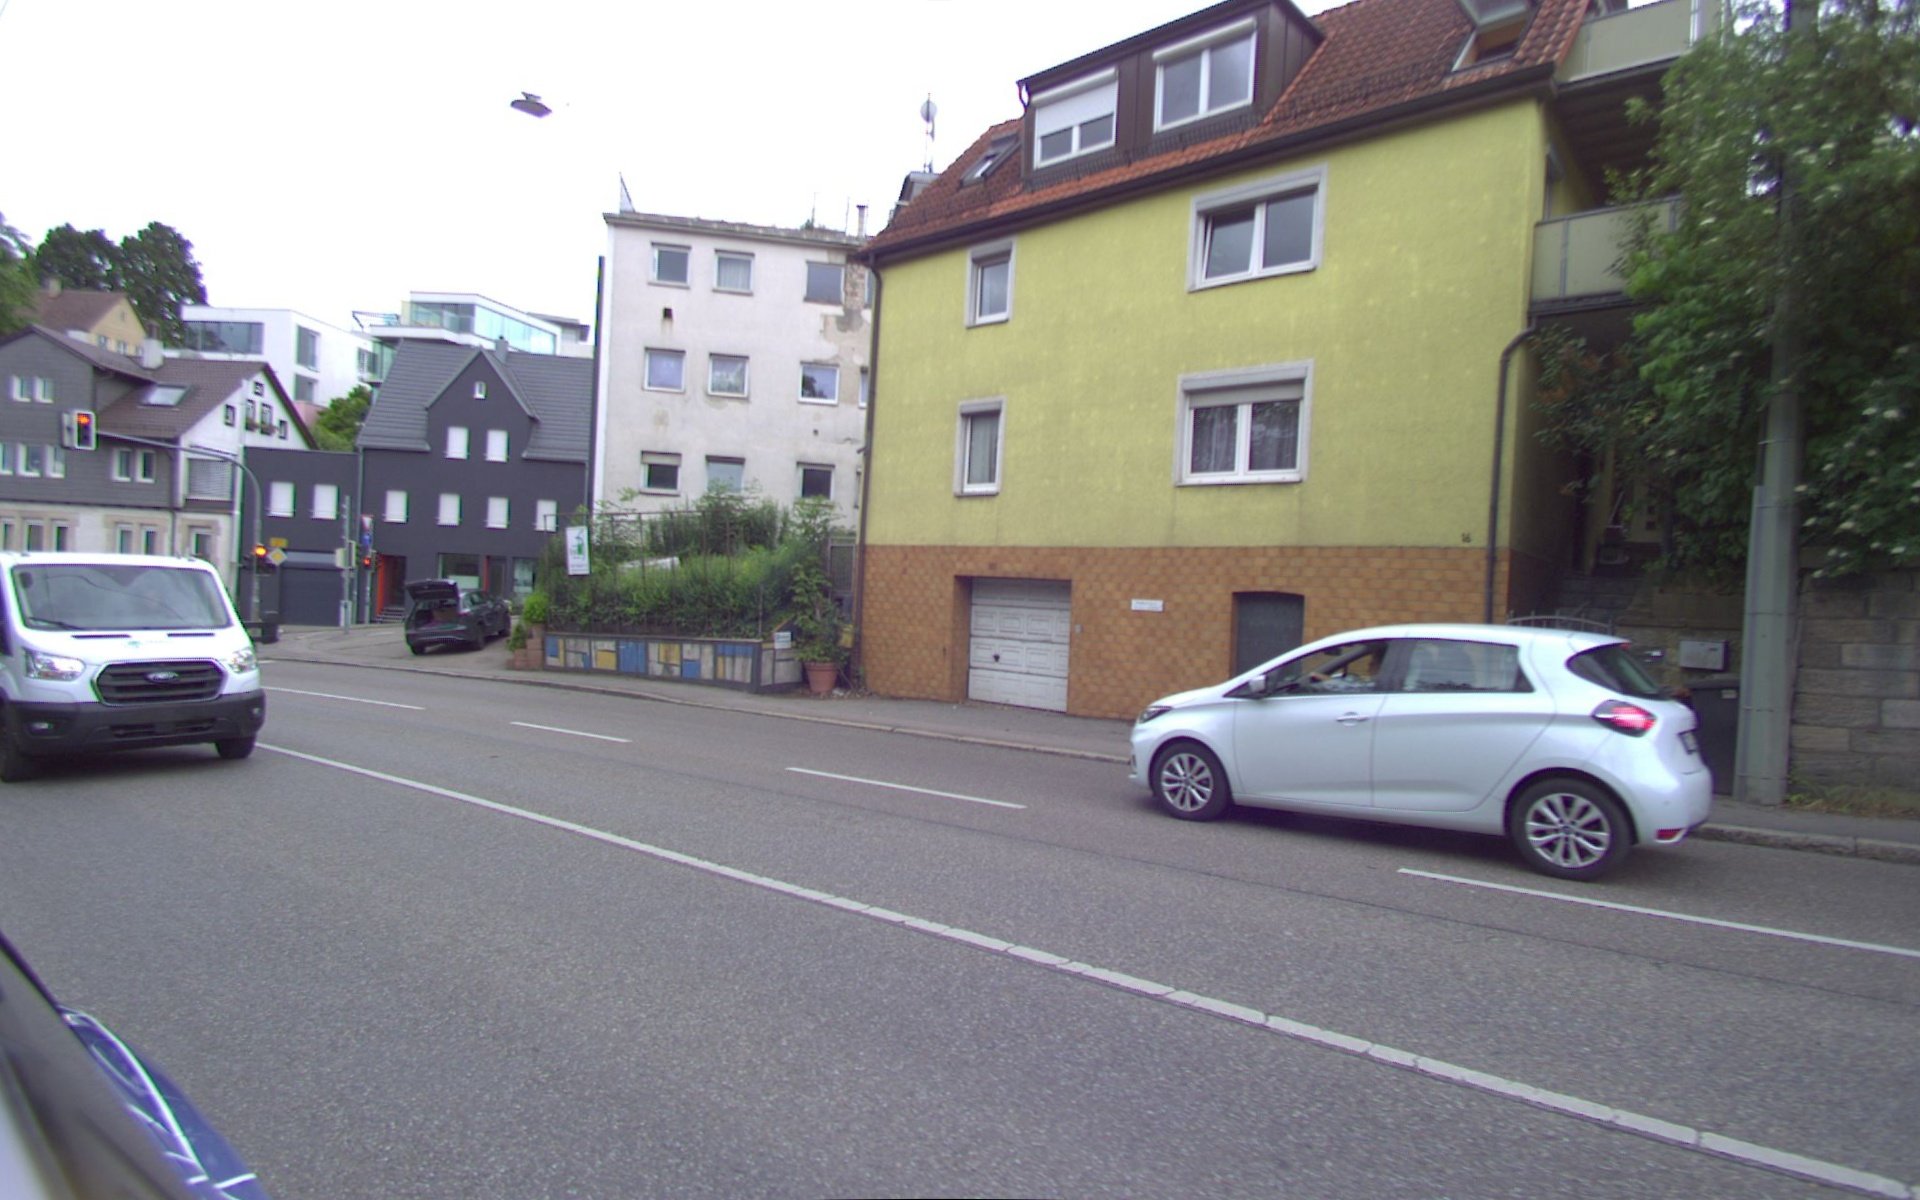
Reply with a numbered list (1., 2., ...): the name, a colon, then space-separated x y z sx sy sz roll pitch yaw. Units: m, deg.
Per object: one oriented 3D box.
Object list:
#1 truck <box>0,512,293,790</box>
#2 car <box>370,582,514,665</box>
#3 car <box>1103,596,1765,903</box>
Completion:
1. truck: -9.910 0.477 11.141 6.315 2.339 2.058 -1 -1 34
2. car: -14.786 0.583 29.254 2.281 1.724 4.715 -4 6 -9
3. car: 3.228 0.875 7.407 4.055 1.626 1.725 -2 -4 42
